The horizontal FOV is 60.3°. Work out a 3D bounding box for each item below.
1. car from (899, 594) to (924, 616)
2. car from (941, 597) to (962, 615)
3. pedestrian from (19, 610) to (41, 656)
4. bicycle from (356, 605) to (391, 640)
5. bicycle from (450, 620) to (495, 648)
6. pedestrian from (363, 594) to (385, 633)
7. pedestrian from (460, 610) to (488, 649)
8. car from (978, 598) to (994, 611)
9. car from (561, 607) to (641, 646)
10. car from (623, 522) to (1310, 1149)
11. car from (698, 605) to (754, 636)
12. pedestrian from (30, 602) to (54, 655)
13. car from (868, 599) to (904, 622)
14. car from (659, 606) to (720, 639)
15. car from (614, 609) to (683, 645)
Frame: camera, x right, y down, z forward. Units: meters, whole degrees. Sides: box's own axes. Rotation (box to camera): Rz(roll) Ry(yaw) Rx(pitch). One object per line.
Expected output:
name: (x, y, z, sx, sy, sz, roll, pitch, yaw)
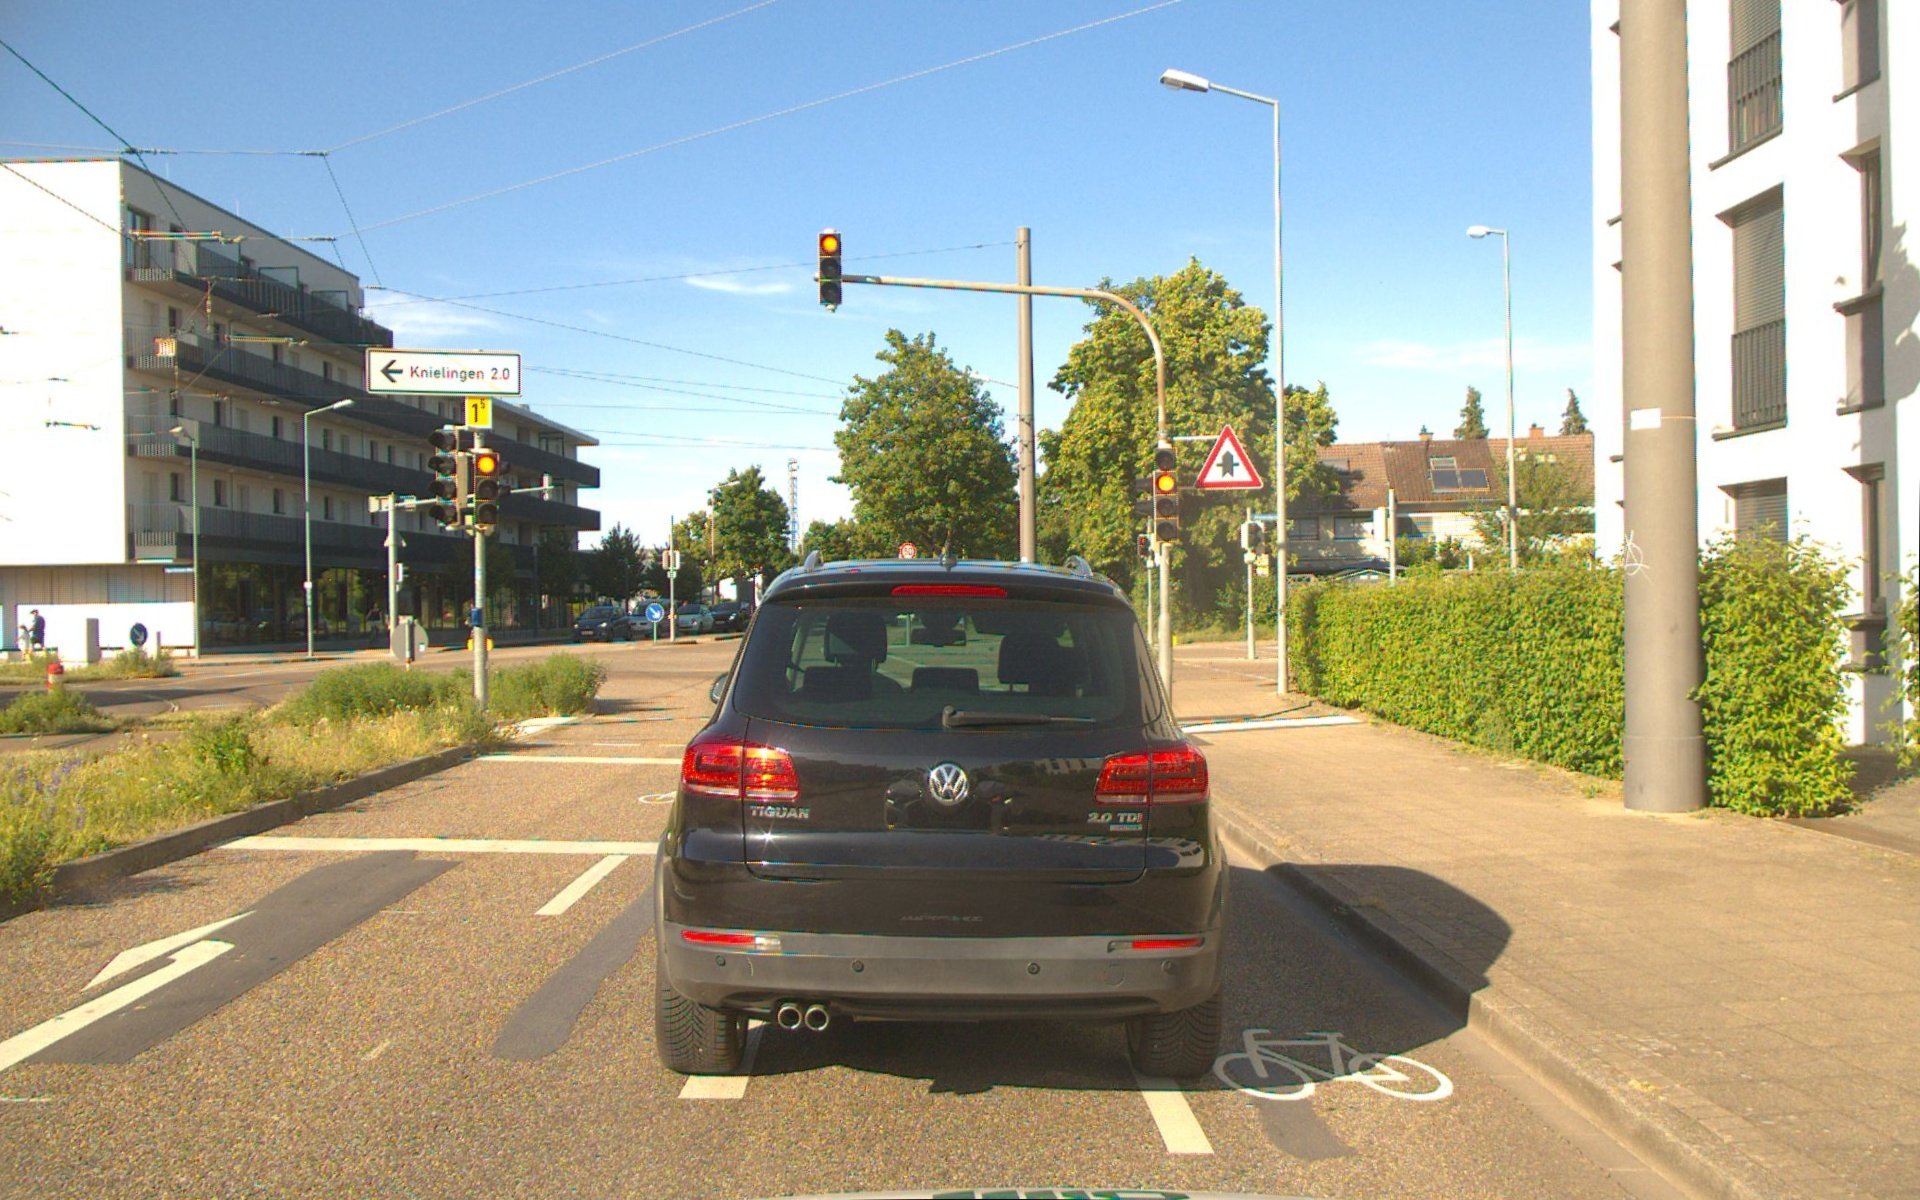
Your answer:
car: (-3.897, 0.367, 132.747, 1.825, 1.750, 3.687, -1, 0, 1)
car: (-0.839, 0.629, 170.375, 1.952, 1.869, 4.001, 1, 0, 2)
pedestrian: (-31.297, 1.102, 55.652, 0.433, 1.529, 0.517, 1, -1, -6)
bicycle: (-23.432, 0.891, 66.118, 0.617, 1.355, 1.913, 1, 0, 3)
bicycle: (-18.710, 1.301, 63.485, 0.755, 1.006, 2.434, 1, 0, 6)
pedestrian: (-23.431, 0.528, 66.159, 0.629, 1.535, 0.596, 1, -1, 3)
pedestrian: (-18.700, 1.122, 63.623, 0.696, 1.499, 0.954, 1, 0, 6)
car: (3.495, 0.615, 225.115, 1.953, 1.713, 3.998, 1, 0, -2)
car: (-15.418, 1.119, 71.257, 1.951, 1.601, 4.343, 1, 0, 9)
car: (-0.005, 0.647, 6.465, 1.831, 1.666, 3.999, 1, 0, -1)
car: (-12.810, 1.105, 90.835, 1.951, 1.601, 4.342, 1, 0, 7)
pedestrian: (-31.194, 0.965, 56.204, 0.532, 1.774, 0.517, 1, -1, -6)
car: (-5.037, 0.692, 113.073, 1.824, 1.511, 4.113, -1, 0, 7)
car: (-13.837, 1.138, 84.771, 1.951, 1.601, 4.342, 1, 0, 7)
car: (-14.613, 1.240, 77.906, 1.951, 1.601, 4.342, 1, 0, 7)
